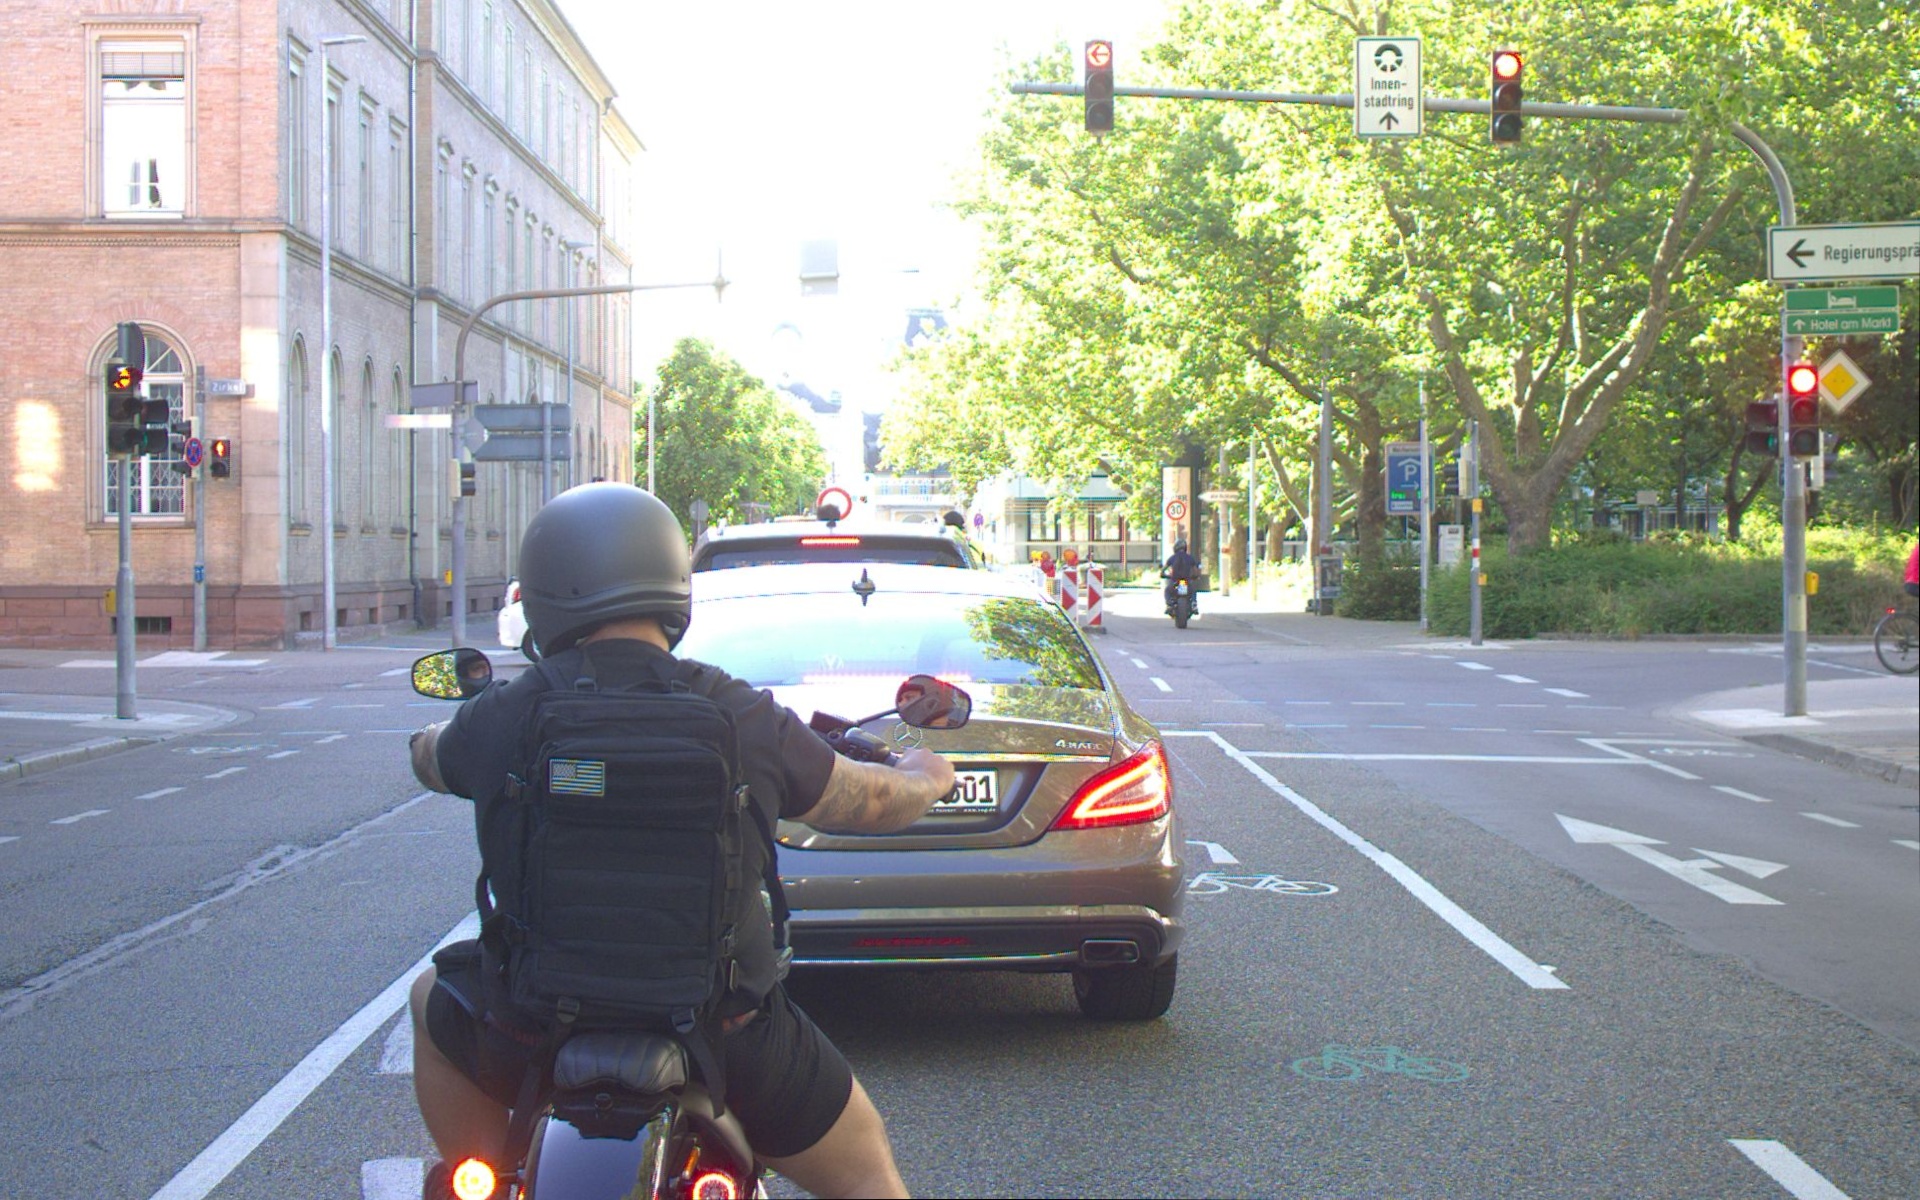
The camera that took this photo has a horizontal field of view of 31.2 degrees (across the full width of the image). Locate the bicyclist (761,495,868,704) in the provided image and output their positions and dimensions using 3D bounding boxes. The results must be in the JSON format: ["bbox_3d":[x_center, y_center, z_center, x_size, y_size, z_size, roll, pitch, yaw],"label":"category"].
[{"bbox_3d":[-1.204,-0.012,28.295,0.703,1.687,0.965,0,1,-13],"label":"bicyclist"}]

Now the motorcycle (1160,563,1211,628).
[{"bbox_3d":[4.452,-0.099,68.033,0.838,1.241,2.283,0,1,-1],"label":"motorcycle"}]

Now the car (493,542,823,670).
[{"bbox_3d":[-3.680,0.065,41.770,3.895,1.481,1.862,1,0,-6],"label":"car"}]

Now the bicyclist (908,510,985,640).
[{"bbox_3d":[-0.185,-0.338,46.134,0.975,1.737,0.609,0,1,-5],"label":"bicyclist"}]

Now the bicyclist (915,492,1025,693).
[{"bbox_3d":[0.078,-0.066,29.612,0.703,1.689,1.048,-1,0,-13],"label":"bicyclist"}]

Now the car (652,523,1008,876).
[{"bbox_3d":[-0.638,0.410,17.779,1.612,1.602,4.329,0,1,-1],"label":"car"}]

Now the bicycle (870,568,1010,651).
[{"bbox_3d":[-0.273,0.125,46.135,1.833,1.101,0.612,0,1,-5],"label":"bicycle"}]

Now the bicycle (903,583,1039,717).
[{"bbox_3d":[0.076,0.409,29.627,0.703,1.099,2.164,-1,0,-12],"label":"bicycle"}]

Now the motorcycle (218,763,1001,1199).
[{"bbox_3d":[-0.456,0.883,5.577,0.989,1.075,2.452,0,1,-1],"label":"motorcycle"}]

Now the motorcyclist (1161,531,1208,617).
[{"bbox_3d":[4.451,-0.516,68.084,0.838,1.697,1.180,0,1,-1],"label":"motorcyclist"}]

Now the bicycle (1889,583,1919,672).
[{"bbox_3d":[11.934,0.320,40.038,2.006,0.977,0.767,0,4,1],"label":"bicycle"}]

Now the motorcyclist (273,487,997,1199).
[{"bbox_3d":[-0.453,0.628,5.419,0.989,1.591,1.404,0,1,-1],"label":"motorcyclist"}]

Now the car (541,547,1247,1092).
[{"bbox_3d":[-0.432,0.561,11.613,1.945,1.468,4.363,0,1,-7],"label":"car"}]
